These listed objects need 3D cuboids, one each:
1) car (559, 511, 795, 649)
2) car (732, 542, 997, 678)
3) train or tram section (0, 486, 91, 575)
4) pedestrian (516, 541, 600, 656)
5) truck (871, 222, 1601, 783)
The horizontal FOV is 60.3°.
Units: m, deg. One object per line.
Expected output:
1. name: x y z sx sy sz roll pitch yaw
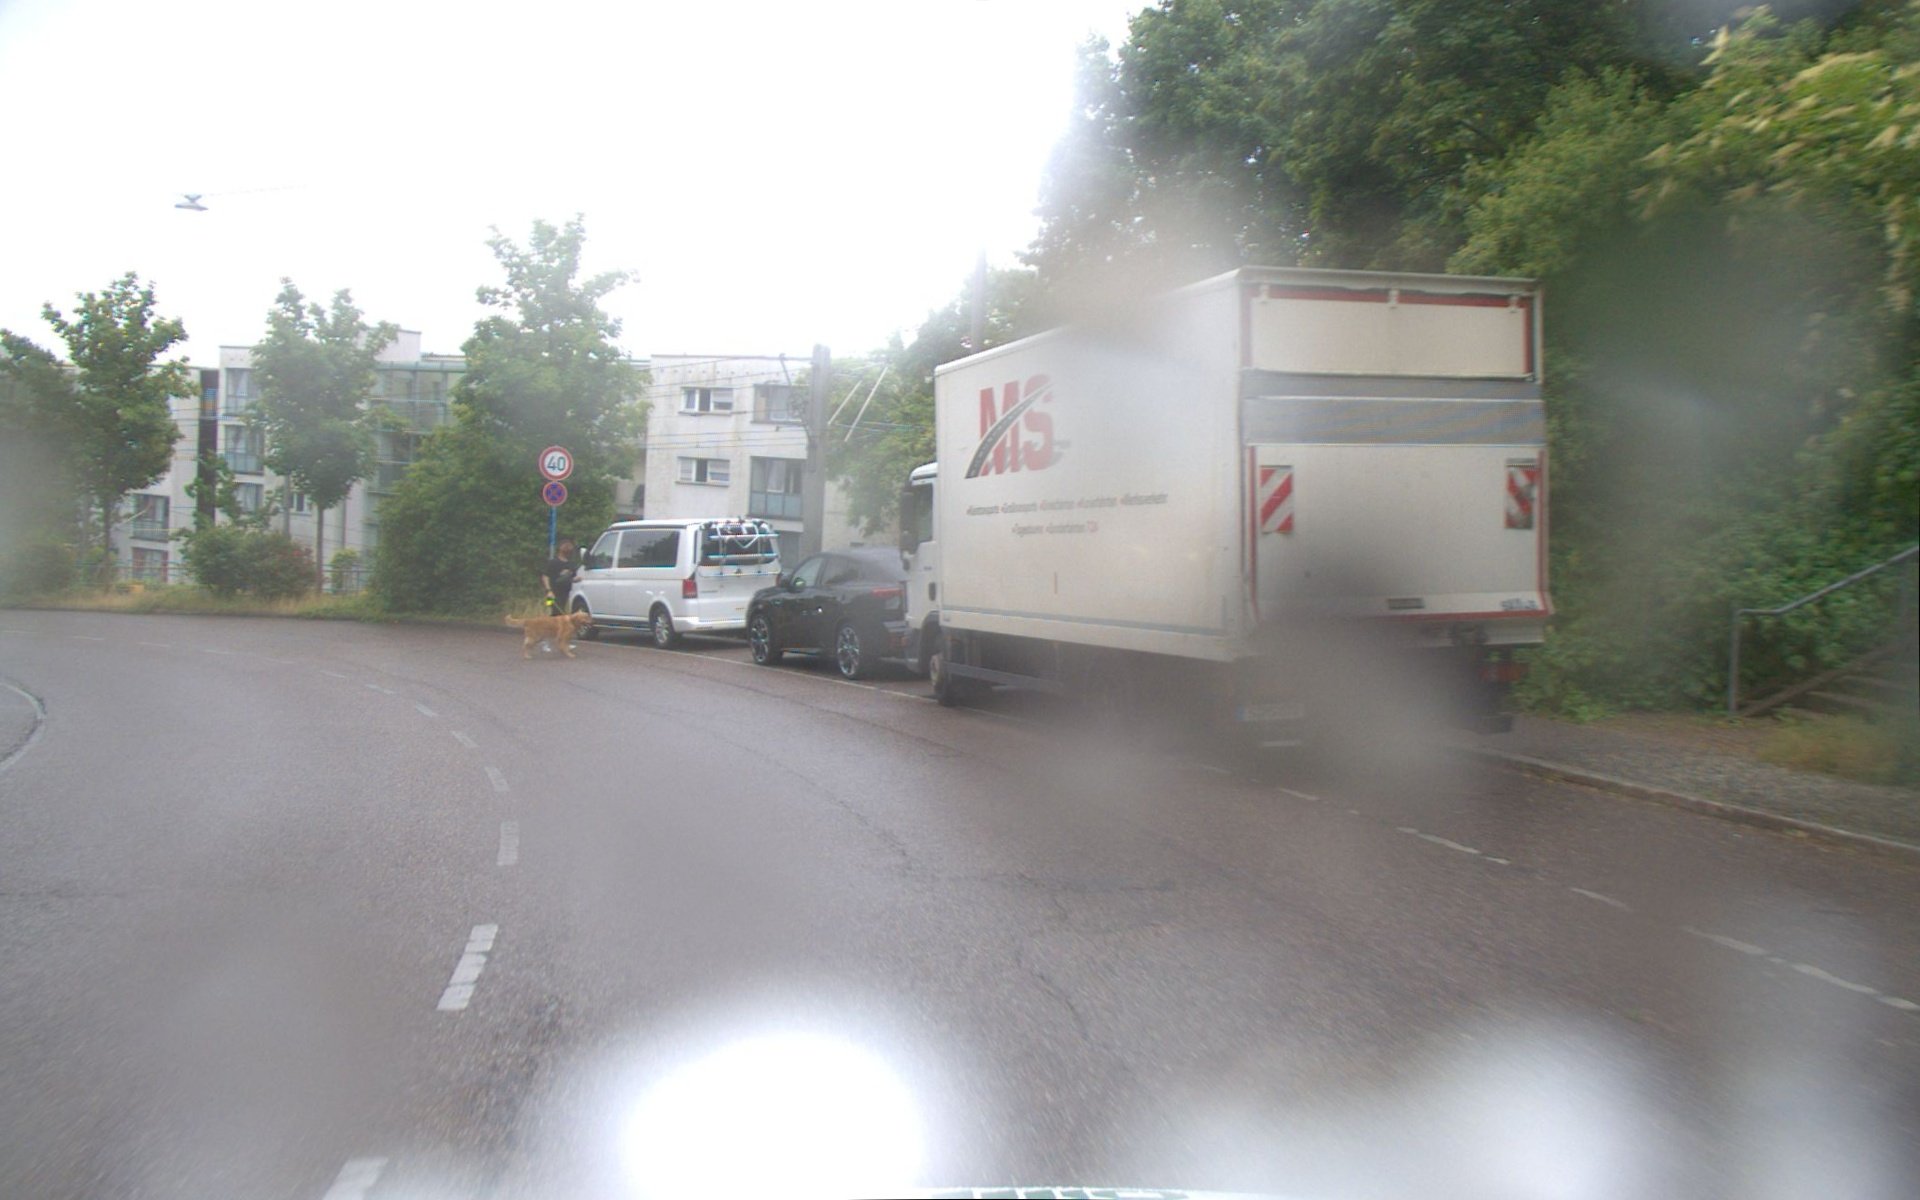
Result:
1. car: -4.728 -0.386 27.141 1.864 2.048 4.628 -3 3 -38
2. car: -1.373 0.053 21.894 1.702 1.582 4.231 -3 3 -31
3. train or tram section: -49.392 -3.352 80.629 18.868 4.016 3.334 1 2 32
4. pedestrian: -6.169 -0.036 25.404 0.904 1.690 0.805 0 3 25
5. truck: 1.788 -0.718 15.155 2.963 3.636 8.288 -1 1 -20
